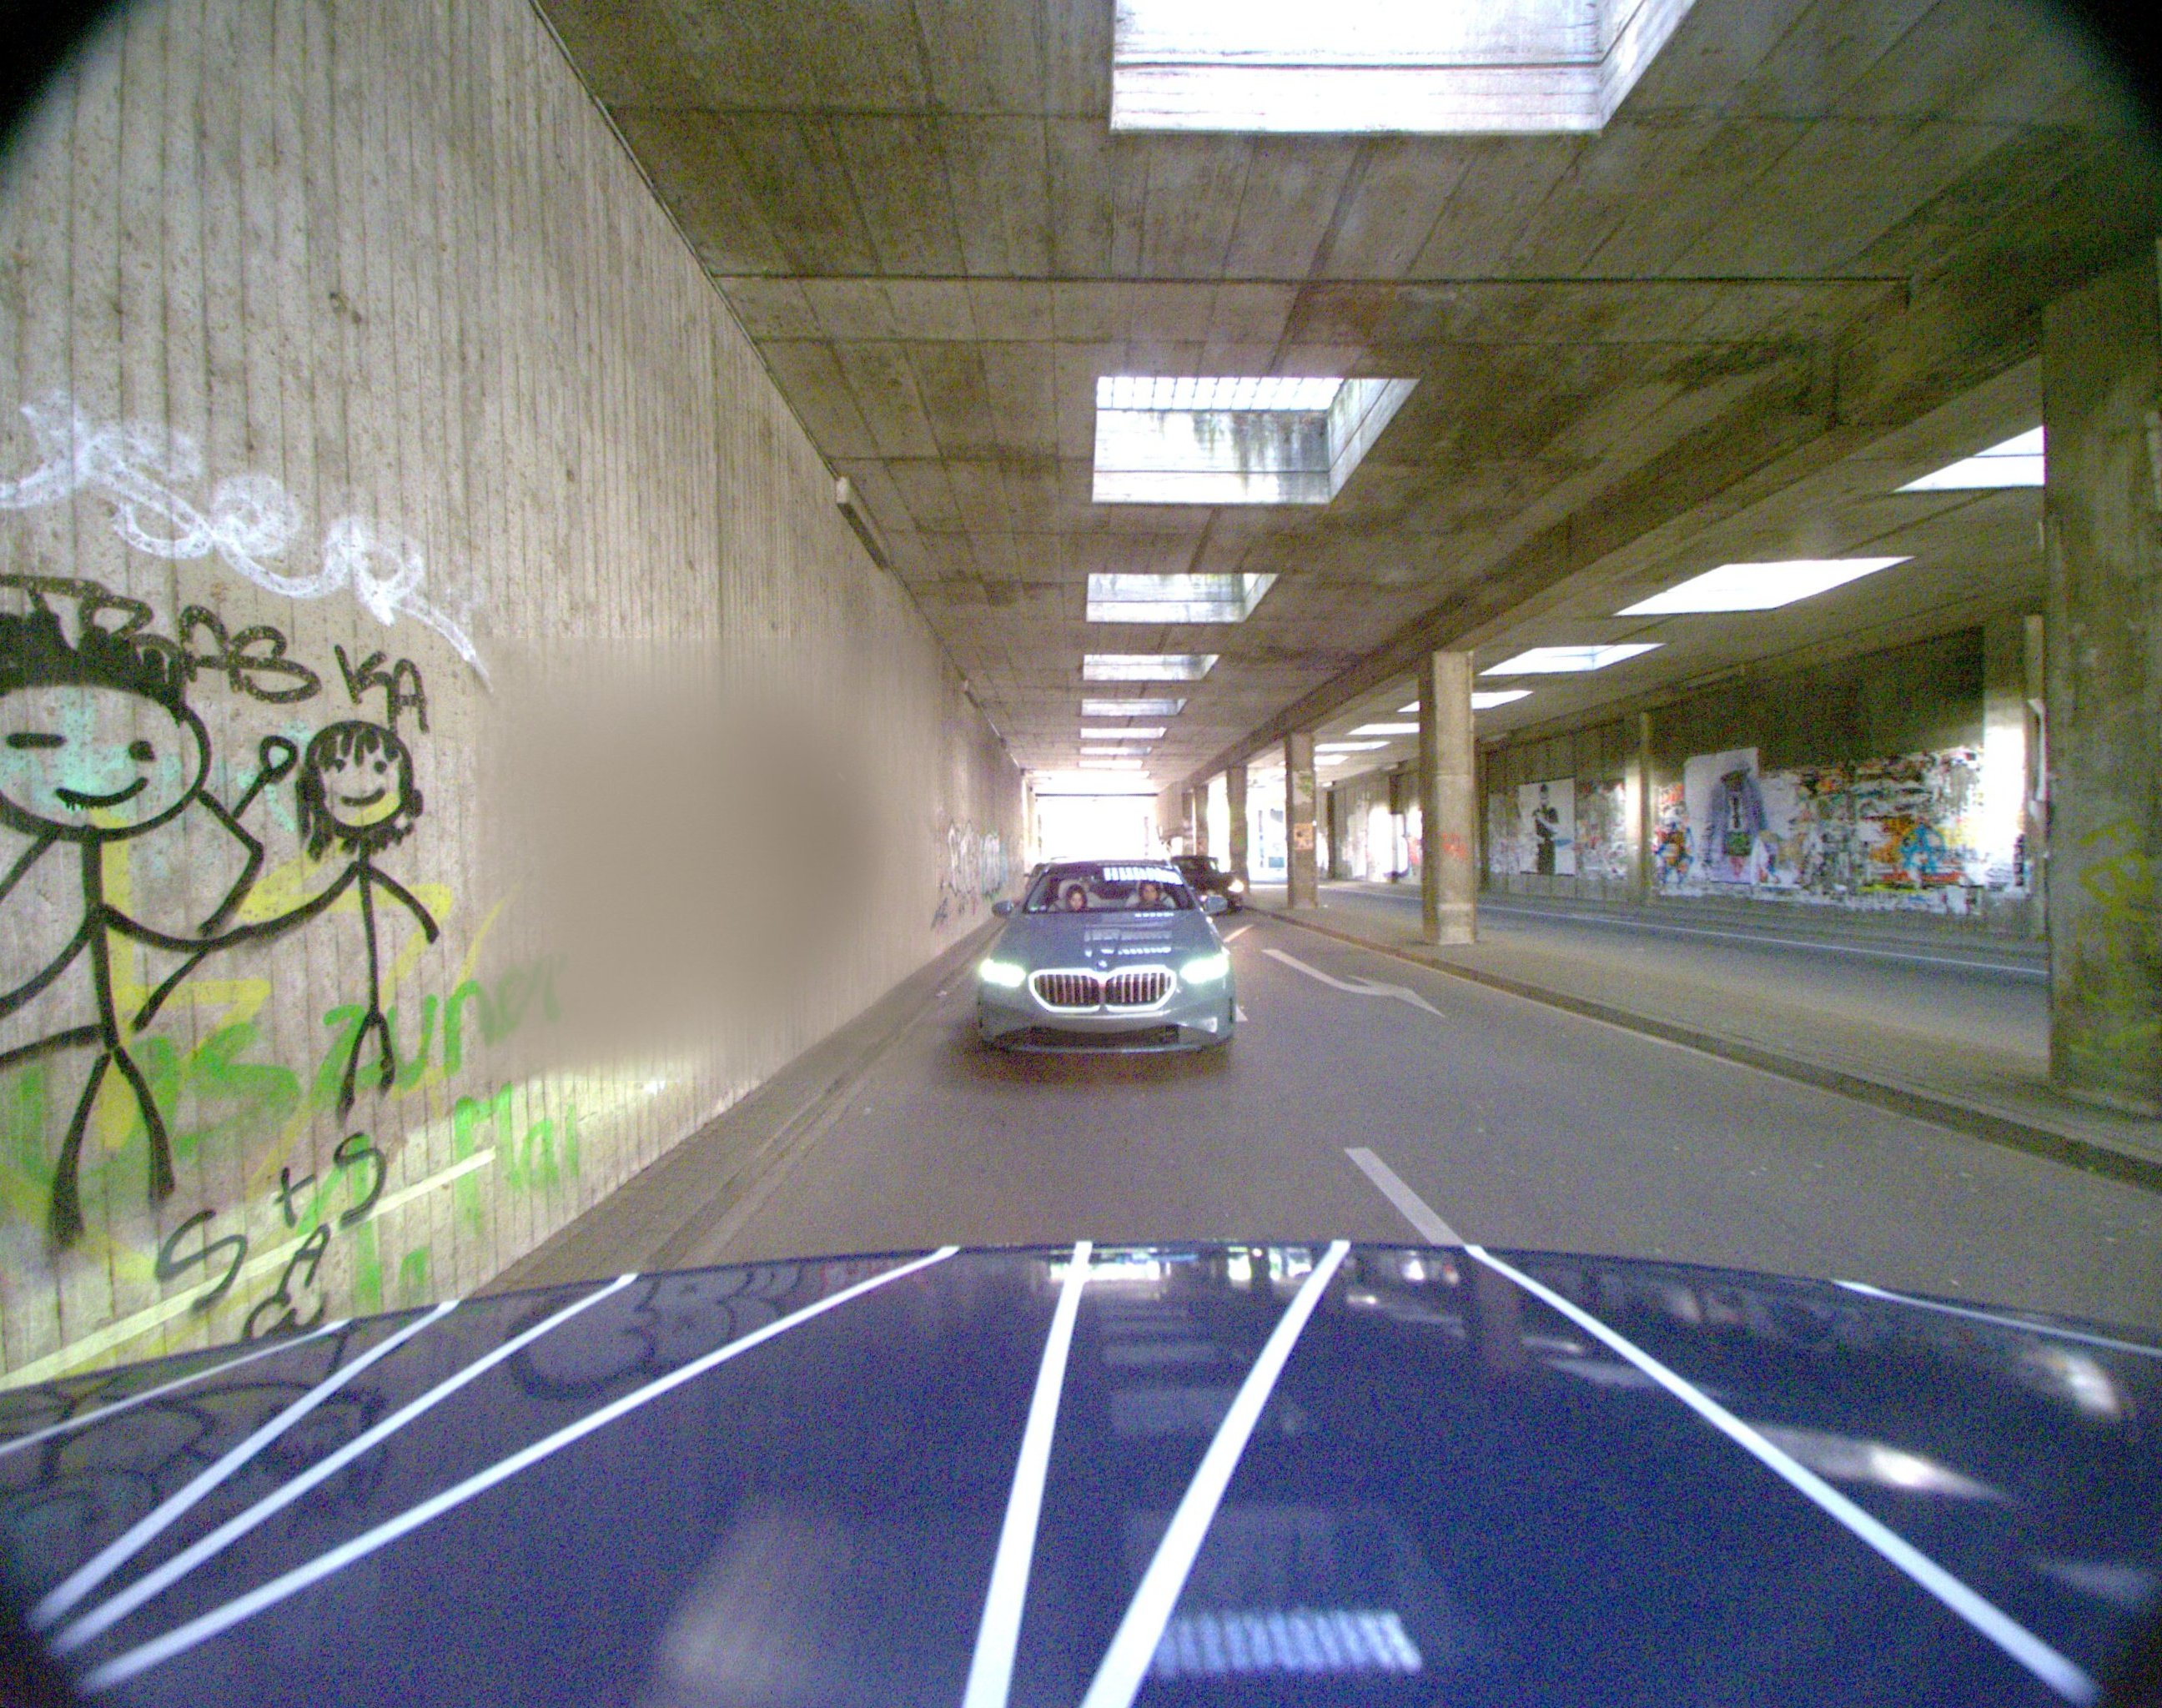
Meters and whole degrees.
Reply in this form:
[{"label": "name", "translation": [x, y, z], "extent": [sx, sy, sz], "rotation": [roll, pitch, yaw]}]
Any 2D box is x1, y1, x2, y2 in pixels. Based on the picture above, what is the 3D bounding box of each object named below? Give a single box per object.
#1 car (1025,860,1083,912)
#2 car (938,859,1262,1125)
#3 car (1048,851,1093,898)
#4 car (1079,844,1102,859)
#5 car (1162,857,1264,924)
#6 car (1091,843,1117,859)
[{"label": "car", "translation": [-0.775, 0.943, 23.906], "extent": [1.593, 1.387, 3.833], "rotation": [-2, 0, 1]}, {"label": "car", "translation": [0.197, 0.882, 7.331], "extent": [1.998, 1.594, 5.176], "rotation": [-1, 0, 2]}, {"label": "car", "translation": [-0.351, 0.761, 29.912], "extent": [1.581, 1.676, 4.078], "rotation": [-2, 0, 1]}, {"label": "car", "translation": [1.238, -0.361, 103.555], "extent": [2.361, 2.002, 5.146], "rotation": [-1, 0, -8]}, {"label": "car", "translation": [3.194, 0.826, 19.131], "extent": [1.784, 1.438, 4.178], "rotation": [-1, 0, 0]}, {"label": "car", "translation": [2.891, -0.351, 97.542], "extent": [2.361, 2.002, 5.146], "rotation": [-1, 0, -8]}]
